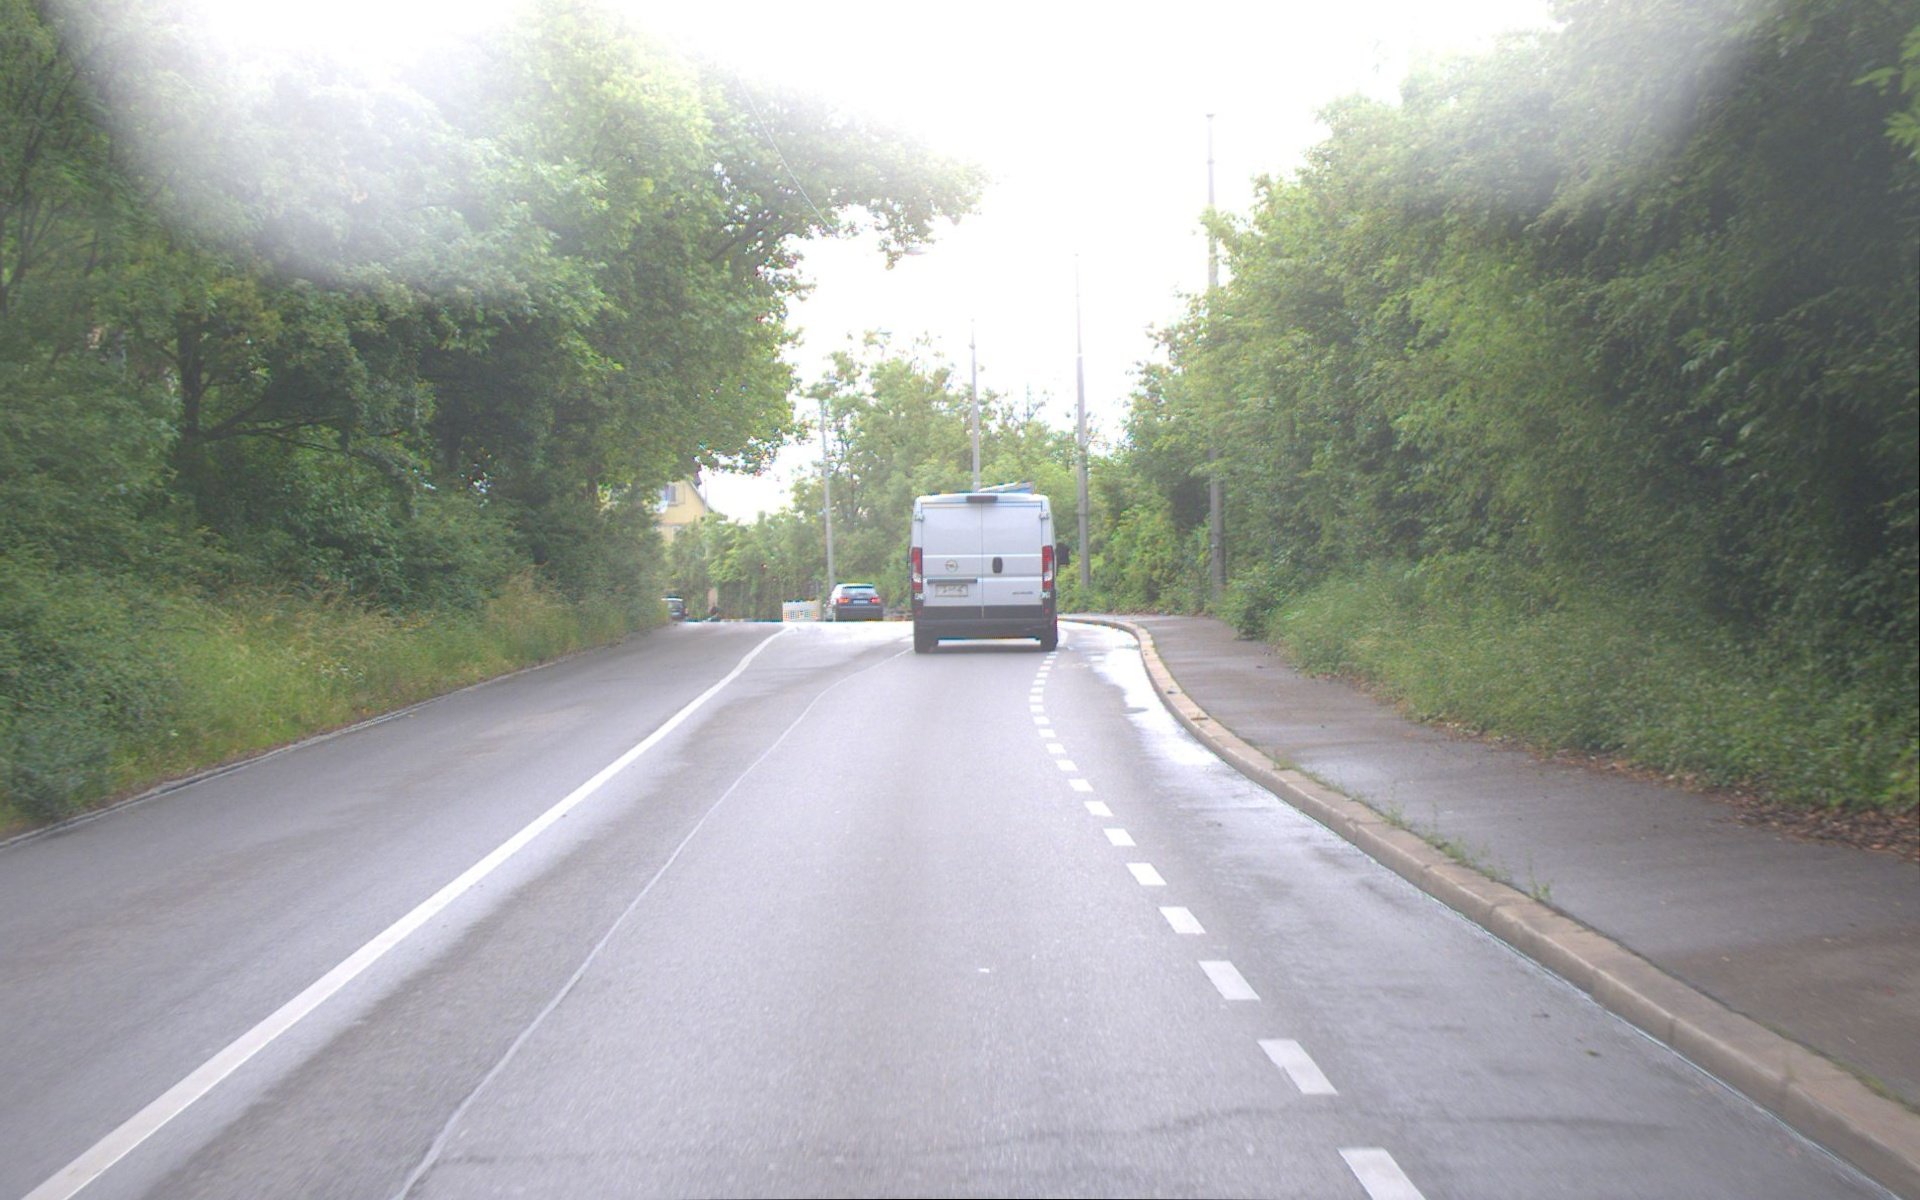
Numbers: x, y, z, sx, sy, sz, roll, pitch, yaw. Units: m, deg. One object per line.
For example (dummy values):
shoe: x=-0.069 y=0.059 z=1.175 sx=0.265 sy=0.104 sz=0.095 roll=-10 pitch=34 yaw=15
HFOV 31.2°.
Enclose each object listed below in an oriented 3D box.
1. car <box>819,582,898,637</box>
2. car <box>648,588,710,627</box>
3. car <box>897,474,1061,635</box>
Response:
car: x=-3.510 y=0.320 z=119.709 sx=2.238 sy=1.798 sz=4.713 roll=1 pitch=1 yaw=4
car: x=-12.889 y=0.323 z=157.449 sx=2.110 sy=1.705 sz=4.715 roll=1 pitch=1 yaw=-14
car: x=0.221 y=-0.664 z=50.072 sx=2.237 sy=2.205 sz=4.714 roll=1 pitch=1 yaw=-1
